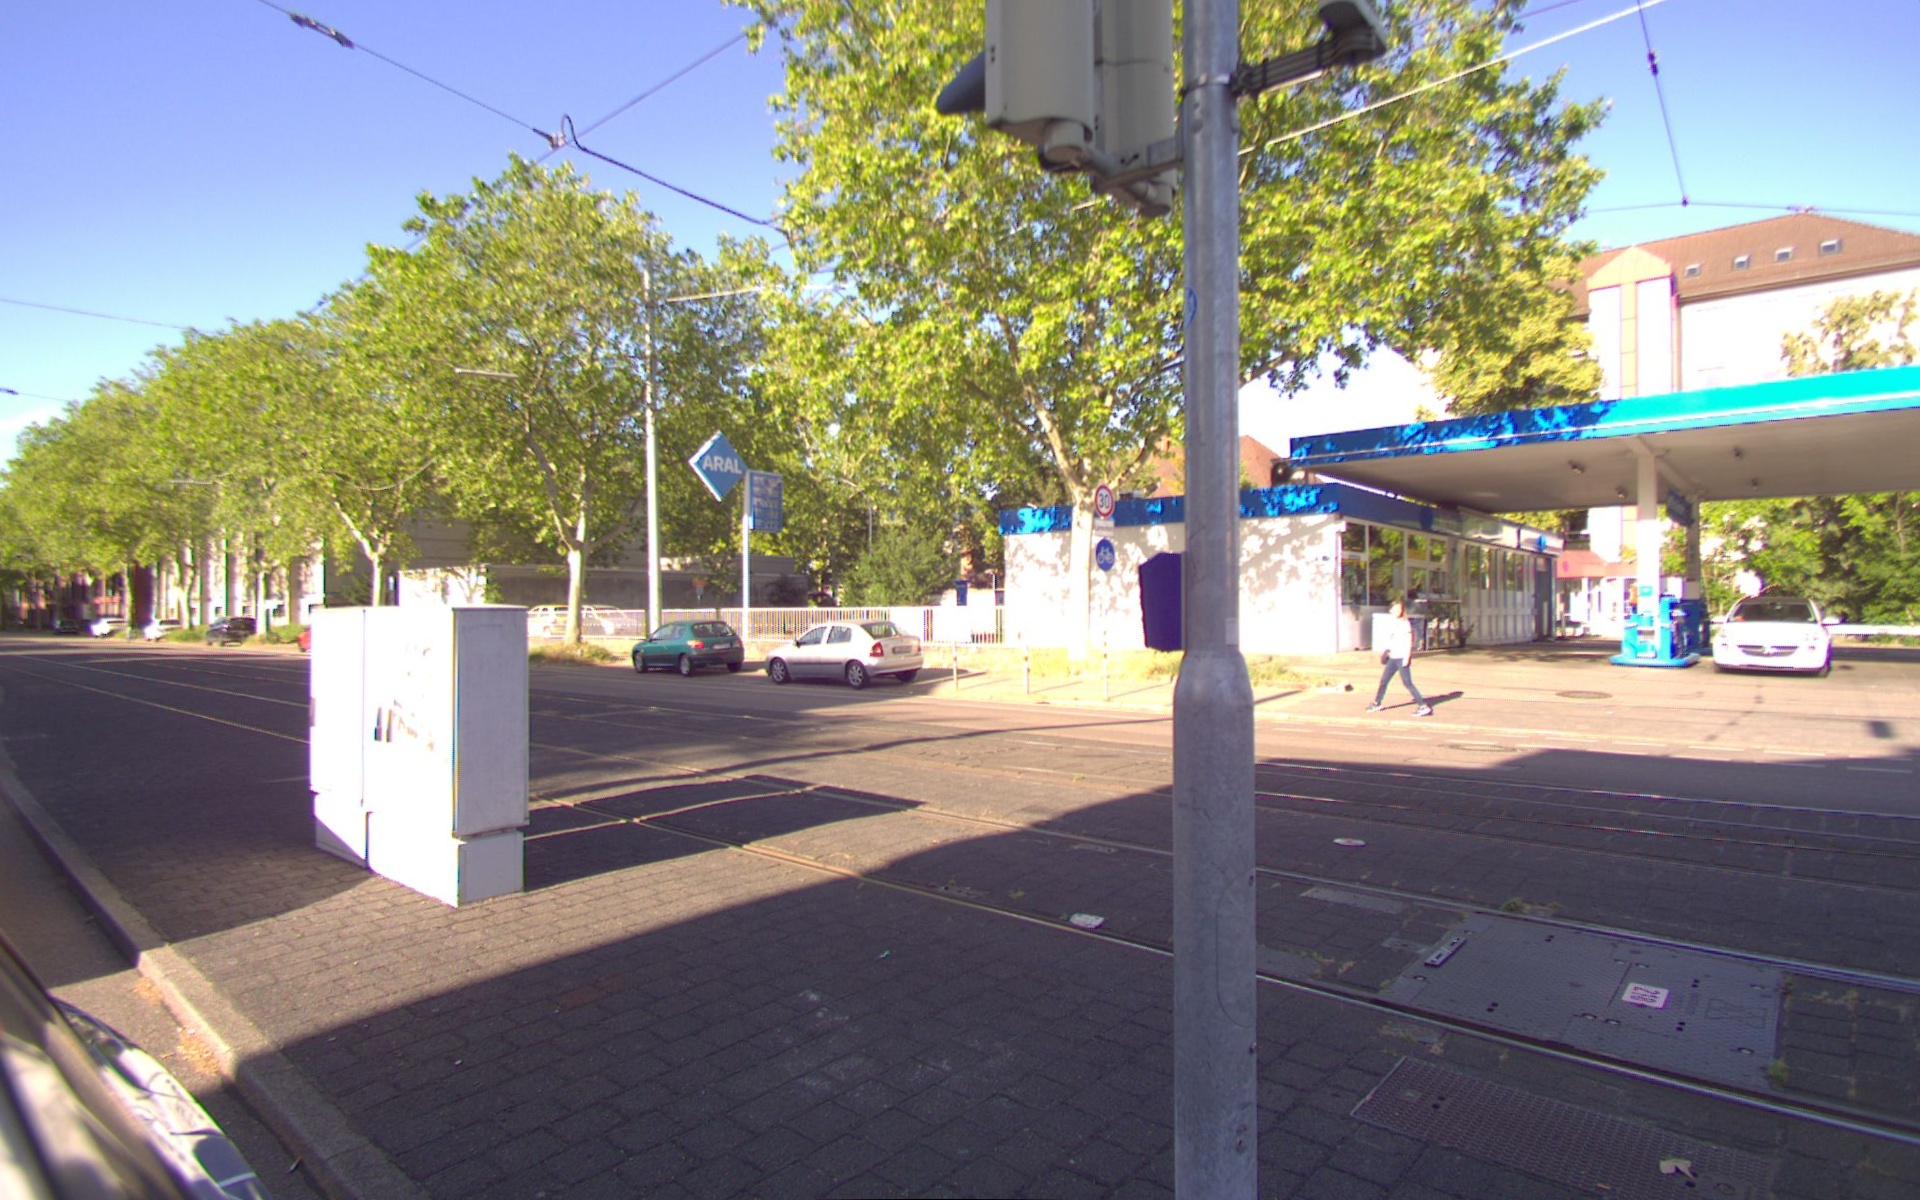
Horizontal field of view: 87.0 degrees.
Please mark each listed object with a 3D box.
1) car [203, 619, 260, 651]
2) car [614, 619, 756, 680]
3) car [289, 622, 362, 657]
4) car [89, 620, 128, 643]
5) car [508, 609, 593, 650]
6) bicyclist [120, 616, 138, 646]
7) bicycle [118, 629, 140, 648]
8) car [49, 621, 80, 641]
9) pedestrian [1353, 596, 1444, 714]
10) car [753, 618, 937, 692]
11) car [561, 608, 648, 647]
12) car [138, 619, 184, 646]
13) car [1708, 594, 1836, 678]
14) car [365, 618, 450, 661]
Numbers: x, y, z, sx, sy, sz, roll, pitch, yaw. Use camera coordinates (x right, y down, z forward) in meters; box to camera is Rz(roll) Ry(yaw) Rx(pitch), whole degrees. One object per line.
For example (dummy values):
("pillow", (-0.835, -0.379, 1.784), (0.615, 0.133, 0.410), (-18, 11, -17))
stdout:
("car", (-40.658, 1.903, 56.474), (4.098, 1.628, 1.821), (-1, 1, 44))
("car", (-7.431, 1.270, 27.127), (4.138, 1.418, 1.820), (-1, 1, 45))
("car", (-28.967, 1.765, 46.172), (4.001, 1.418, 1.821), (-1, 1, 44))
("car", (-66.946, 2.474, 79.569), (4.098, 1.686, 1.821), (-1, 1, 44))
("car", (-17.136, 1.188, 42.272), (4.002, 1.545, 1.820), (-1, 1, 45))
("bicyclist", (-52.563, 1.965, 64.010), (1.070, 1.878, 0.711), (-1, -2, 41))
("bicycle", (-52.533, 2.413, 63.973), (2.532, 1.129, 0.645), (-1, -1, 41))
("car", (-85.043, 2.929, 96.092), (4.098, 1.686, 1.821), (-1, 1, 44))
("pedestrian", (6.330, 0.775, 14.608), (1.103, 1.631, 0.708), (-1, -1, 32))
("car", (-2.624, 1.173, 22.638), (3.997, 1.418, 1.823), (-1, 1, 40))
("car", (-15.395, 1.166, 43.765), (3.999, 1.545, 1.822), (-1, 1, 42))
("car", (-53.842, 2.147, 68.197), (4.098, 1.686, 1.821), (-1, 1, 44))
("car", (15.991, 0.657, 19.887), (1.780, 1.475, 3.946), (-1, -1, 40))
("car", (-21.967, 1.533, 40.179), (4.002, 1.545, 1.820), (-1, 1, 45))
